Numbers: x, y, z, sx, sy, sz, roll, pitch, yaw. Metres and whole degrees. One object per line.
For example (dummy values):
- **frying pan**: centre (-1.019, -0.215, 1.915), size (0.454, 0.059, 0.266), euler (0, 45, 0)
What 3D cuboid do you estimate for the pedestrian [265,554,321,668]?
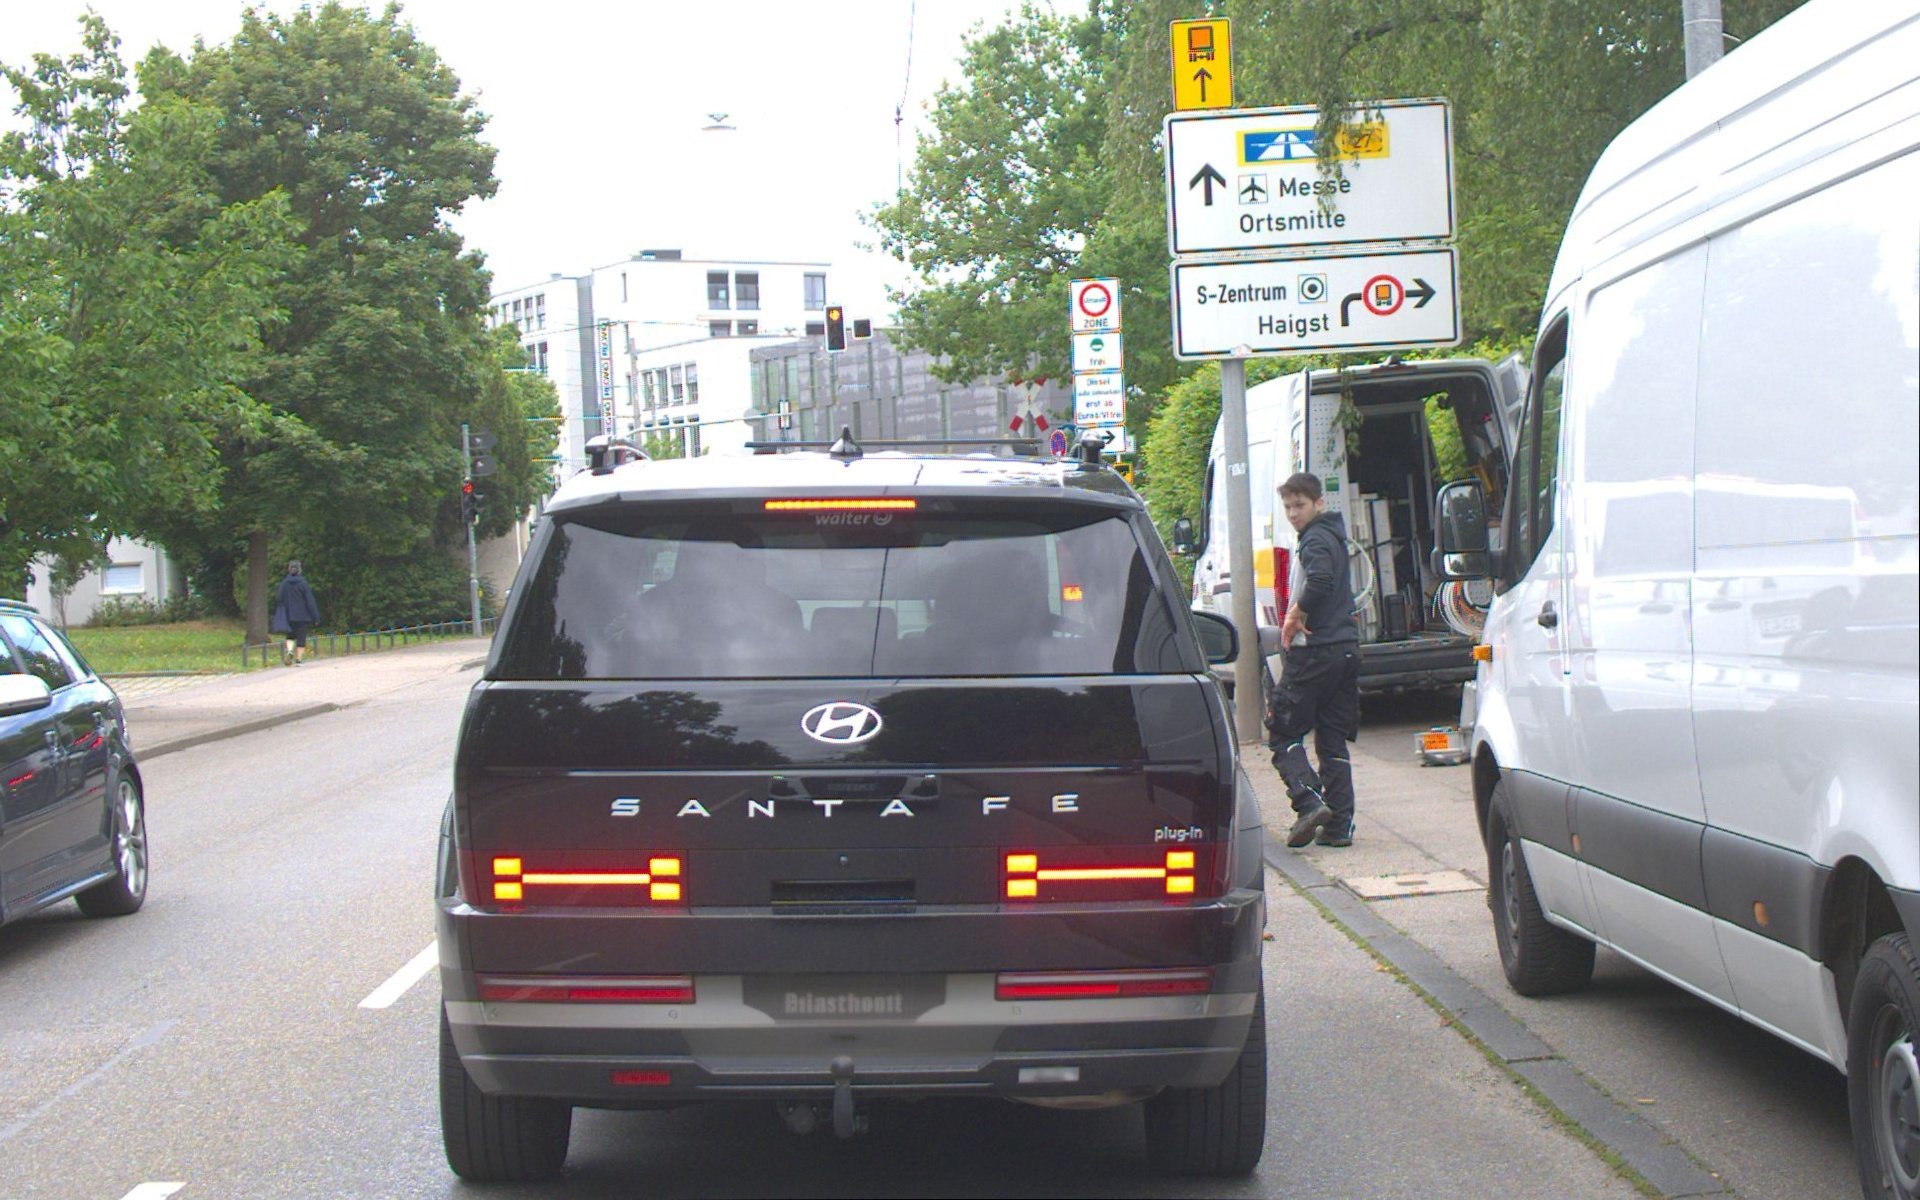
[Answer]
- **pedestrian**: centre (-10.256, 0.165, 52.867), size (0.738, 1.709, 0.793), euler (-2, 1, -7)

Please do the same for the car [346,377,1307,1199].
- **car**: centre (-0.285, 0.437, 8.798), size (1.889, 1.813, 4.000), euler (0, 1, -1)

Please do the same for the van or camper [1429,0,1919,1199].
- **van or camper**: centre (2.627, -0.083, 8.111), size (1.993, 2.611, 6.541), euler (-2, 1, -1)

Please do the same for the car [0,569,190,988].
- **car**: centre (-4.354, 0.690, 13.094), size (1.859, 1.448, 4.111), euler (-4, 1, -1)

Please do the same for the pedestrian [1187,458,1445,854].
- **pedestrian**: centre (1.675, 0.249, 16.167), size (0.872, 1.791, 0.758), euler (-1, 1, 42)

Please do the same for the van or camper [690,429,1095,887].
- **van or camper**: centre (-0.324, 0.229, 17.466), size (1.754, 2.007, 4.000), euler (-2, 1, -1)

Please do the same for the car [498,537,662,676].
- **car**: centre (-5.059, 0.053, 46.194), size (1.785, 1.648, 4.121), euler (-4, 1, -2)

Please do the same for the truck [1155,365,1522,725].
- **truck**: centre (2.950, -0.428, 28.020), size (1.942, 2.553, 5.217), euler (-4, 1, -4)
